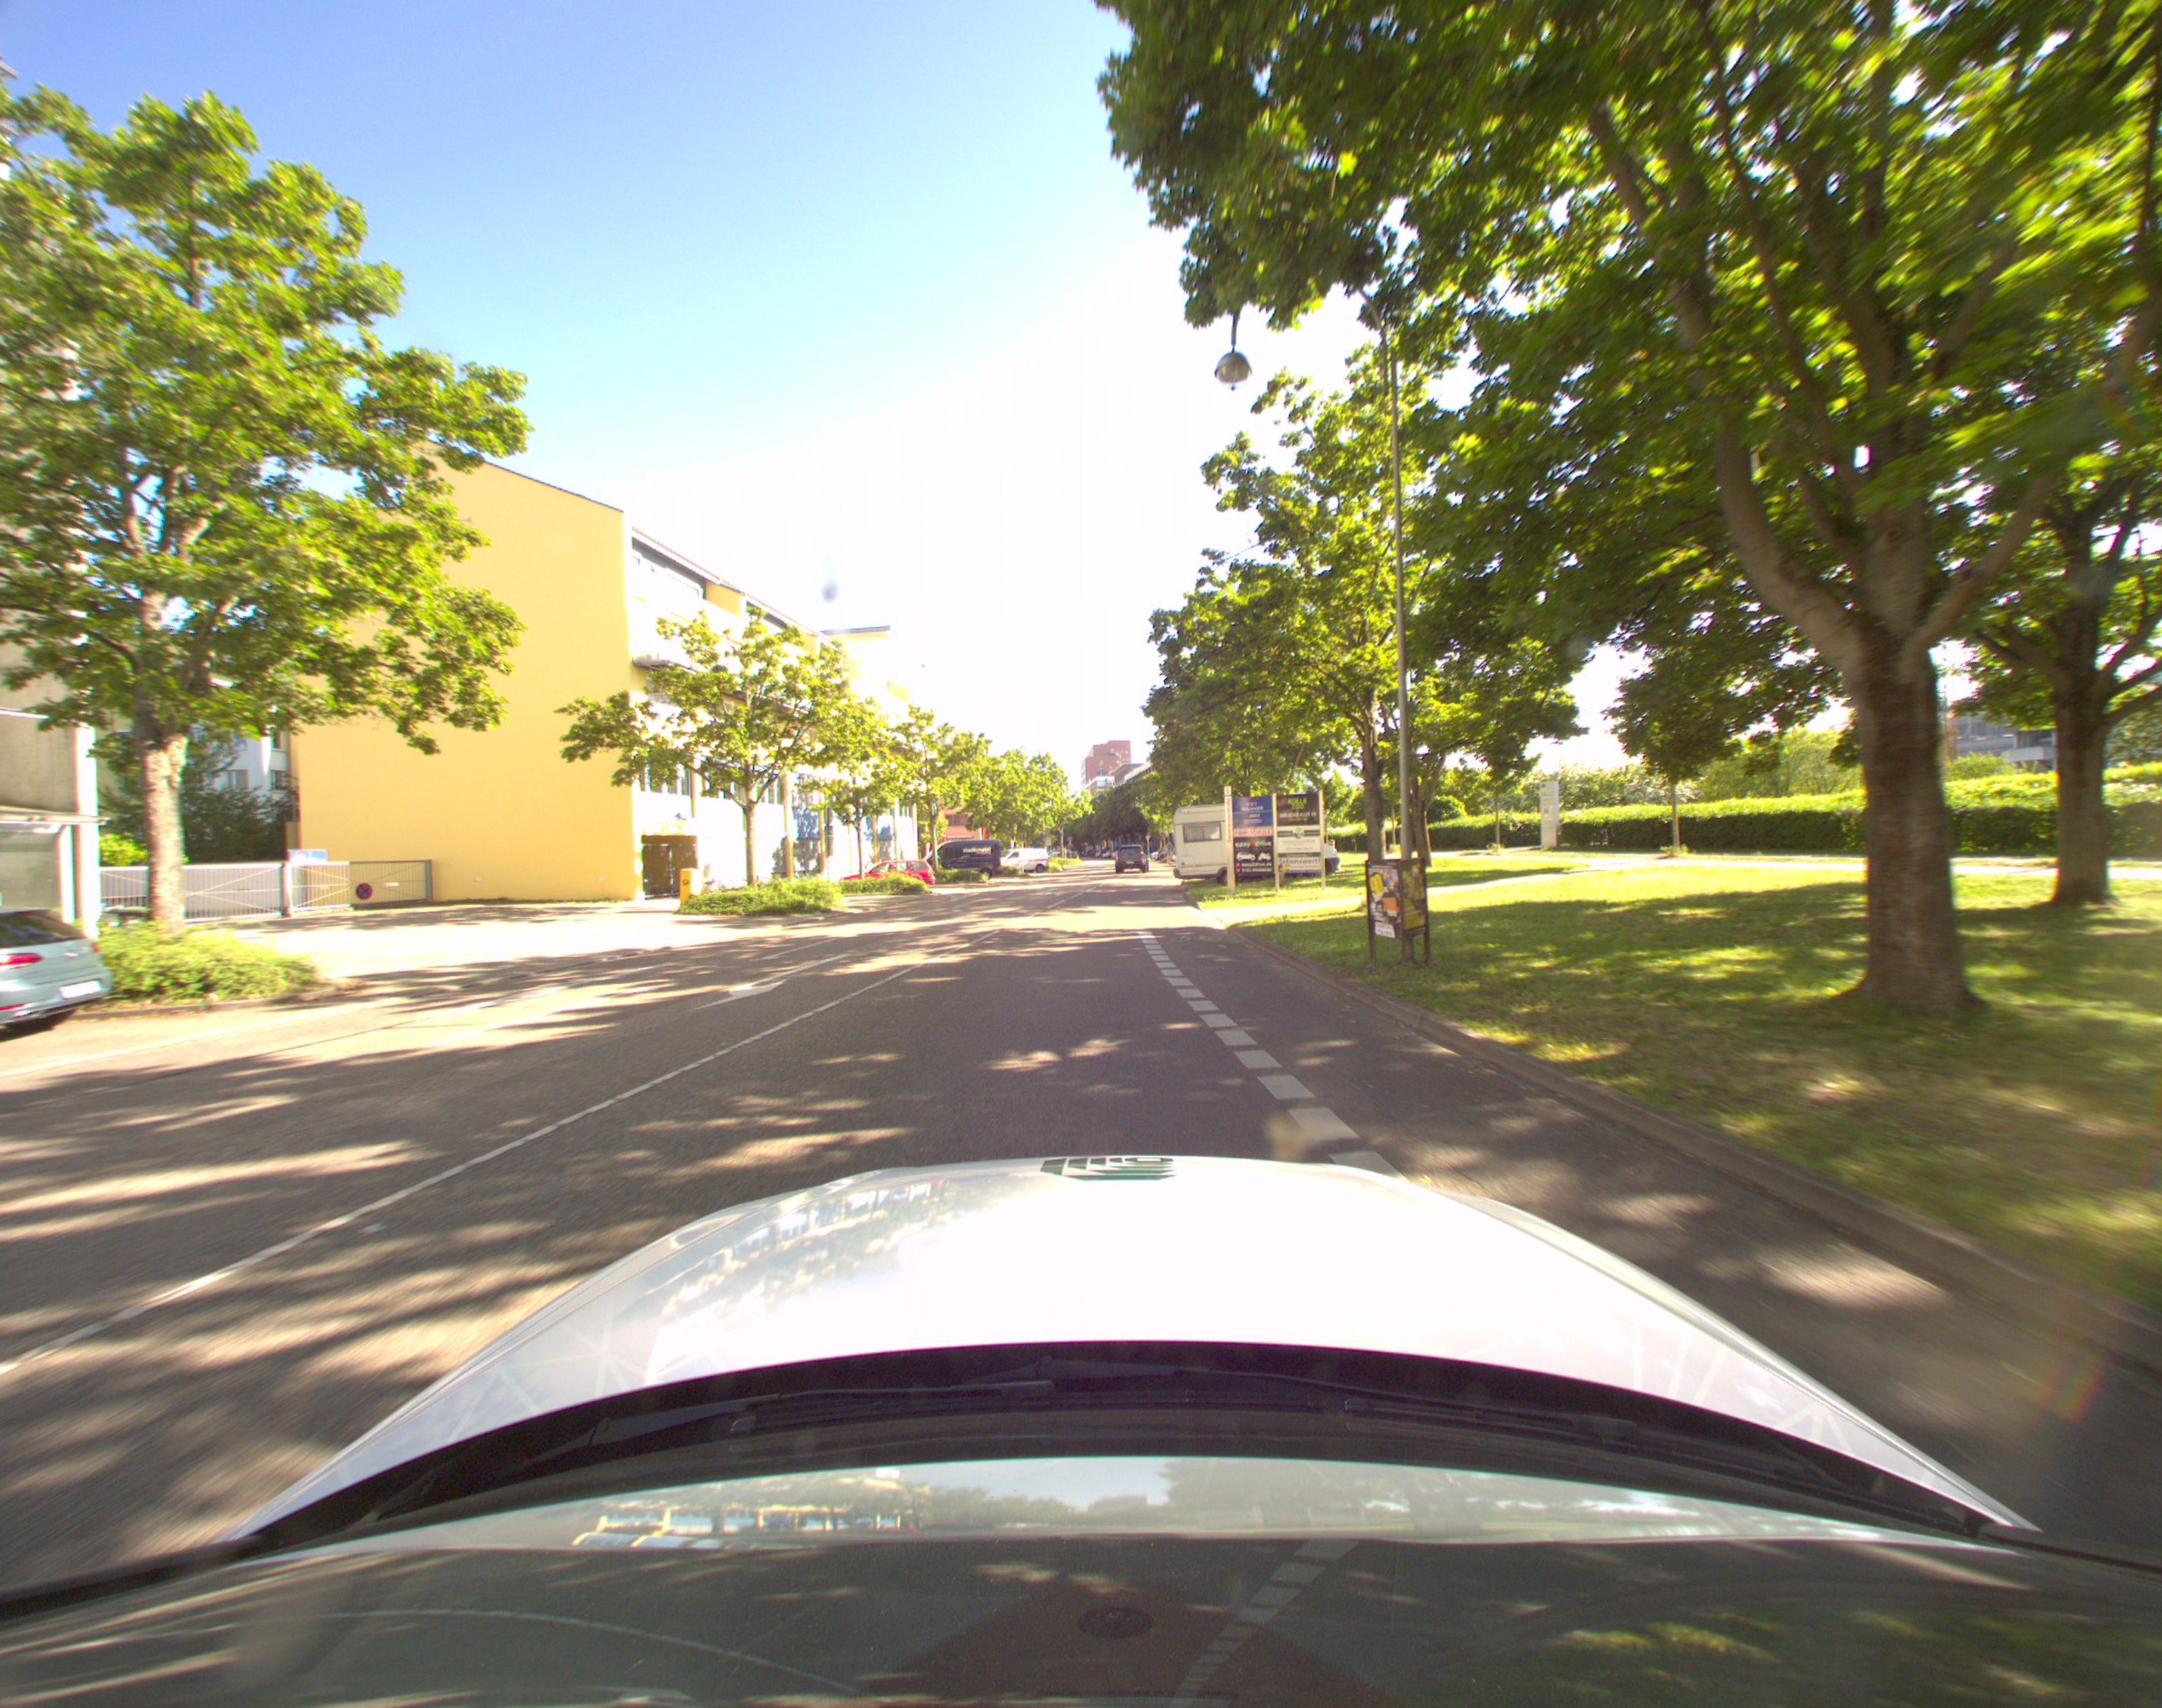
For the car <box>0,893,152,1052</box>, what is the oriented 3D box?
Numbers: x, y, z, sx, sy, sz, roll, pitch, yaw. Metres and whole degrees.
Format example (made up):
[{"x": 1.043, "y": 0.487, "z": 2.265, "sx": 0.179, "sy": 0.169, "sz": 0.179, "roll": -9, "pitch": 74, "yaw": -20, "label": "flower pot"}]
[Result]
[{"x": -12.562, "y": 1.258, "z": 8.129, "sx": 3.893, "sy": 1.510, "sz": 1.813, "roll": -2, "pitch": 0, "yaw": -26, "label": "car"}]

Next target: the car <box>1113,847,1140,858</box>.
[{"x": 7.137, "y": -0.191, "z": 127.383, "sx": 3.938, "sy": 1.397, "sz": 1.515, "roll": -5, "pitch": 0, "yaw": -3, "label": "car"}]

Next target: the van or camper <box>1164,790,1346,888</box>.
[{"x": 6.165, "y": -0.508, "z": 29.622, "sx": 6.050, "sy": 2.928, "sz": 2.579, "roll": -4, "pitch": 0, "yaw": 5, "label": "van or camper"}]

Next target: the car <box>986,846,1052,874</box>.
[{"x": -4.999, "y": 0.488, "z": 66.253, "sx": 4.913, "sy": 2.083, "sz": 1.967, "roll": -3, "pitch": 0, "yaw": -29, "label": "car"}]

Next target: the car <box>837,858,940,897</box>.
[{"x": -8.896, "y": 1.049, "z": 37.505, "sx": 4.421, "sy": 1.552, "sz": 1.909, "roll": -3, "pitch": 0, "yaw": -19, "label": "car"}]

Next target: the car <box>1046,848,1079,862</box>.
[{"x": -2.264, "y": 0.069, "z": 98.277, "sx": 3.875, "sy": 1.365, "sz": 1.408, "roll": -5, "pitch": 0, "yaw": -3, "label": "car"}]

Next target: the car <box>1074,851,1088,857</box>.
[{"x": 0.063, "y": -0.069, "z": 196.420, "sx": 3.207, "sy": 1.228, "sz": 1.261, "roll": -5, "pitch": 0, "yaw": -3, "label": "car"}]

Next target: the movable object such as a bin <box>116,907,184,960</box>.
[{"x": -17.884, "y": 1.519, "z": 15.655, "sx": 0.465, "sy": 0.949, "sz": 0.713, "roll": -1, "pitch": 0, "yaw": -2, "label": "movable object such as a bin"}]

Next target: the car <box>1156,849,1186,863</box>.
[{"x": 10.210, "y": 0.192, "z": 92.808, "sx": 3.229, "sy": 1.277, "sz": 1.518, "roll": -5, "pitch": 0, "yaw": 4, "label": "car"}]

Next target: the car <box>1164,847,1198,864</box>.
[{"x": 9.995, "y": 0.118, "z": 81.725, "sx": 3.229, "sy": 1.397, "sz": 1.518, "roll": -5, "pitch": 0, "yaw": 4, "label": "car"}]

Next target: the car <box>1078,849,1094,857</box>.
[{"x": 1.121, "y": -0.192, "z": 173.418, "sx": 3.272, "sy": 1.397, "sz": 1.515, "roll": -5, "pitch": 0, "yaw": -3, "label": "car"}]

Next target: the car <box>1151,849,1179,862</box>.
[{"x": 9.952, "y": 0.176, "z": 97.050, "sx": 3.229, "sy": 1.277, "sz": 1.518, "roll": -5, "pitch": 0, "yaw": 4, "label": "car"}]

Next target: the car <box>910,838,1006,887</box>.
[{"x": -7.256, "y": 0.476, "z": 48.170, "sx": 5.278, "sy": 2.545, "sz": 1.972, "roll": -3, "pitch": 0, "yaw": -20, "label": "car"}]

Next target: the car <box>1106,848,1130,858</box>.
[{"x": 6.465, "y": -0.190, "z": 142.482, "sx": 3.938, "sy": 1.397, "sz": 1.515, "roll": -5, "pitch": 0, "yaw": -3, "label": "car"}]

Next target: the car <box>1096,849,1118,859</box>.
[{"x": 4.775, "y": -0.011, "z": 151.414, "sx": 3.938, "sy": 1.397, "sz": 1.515, "roll": -5, "pitch": 0, "yaw": -3, "label": "car"}]

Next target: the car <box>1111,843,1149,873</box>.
[{"x": 3.342, "y": 0.216, "z": 54.089, "sx": 2.121, "sy": 1.835, "sz": 4.951, "roll": -2, "pitch": 1, "yaw": 7, "label": "car"}]
